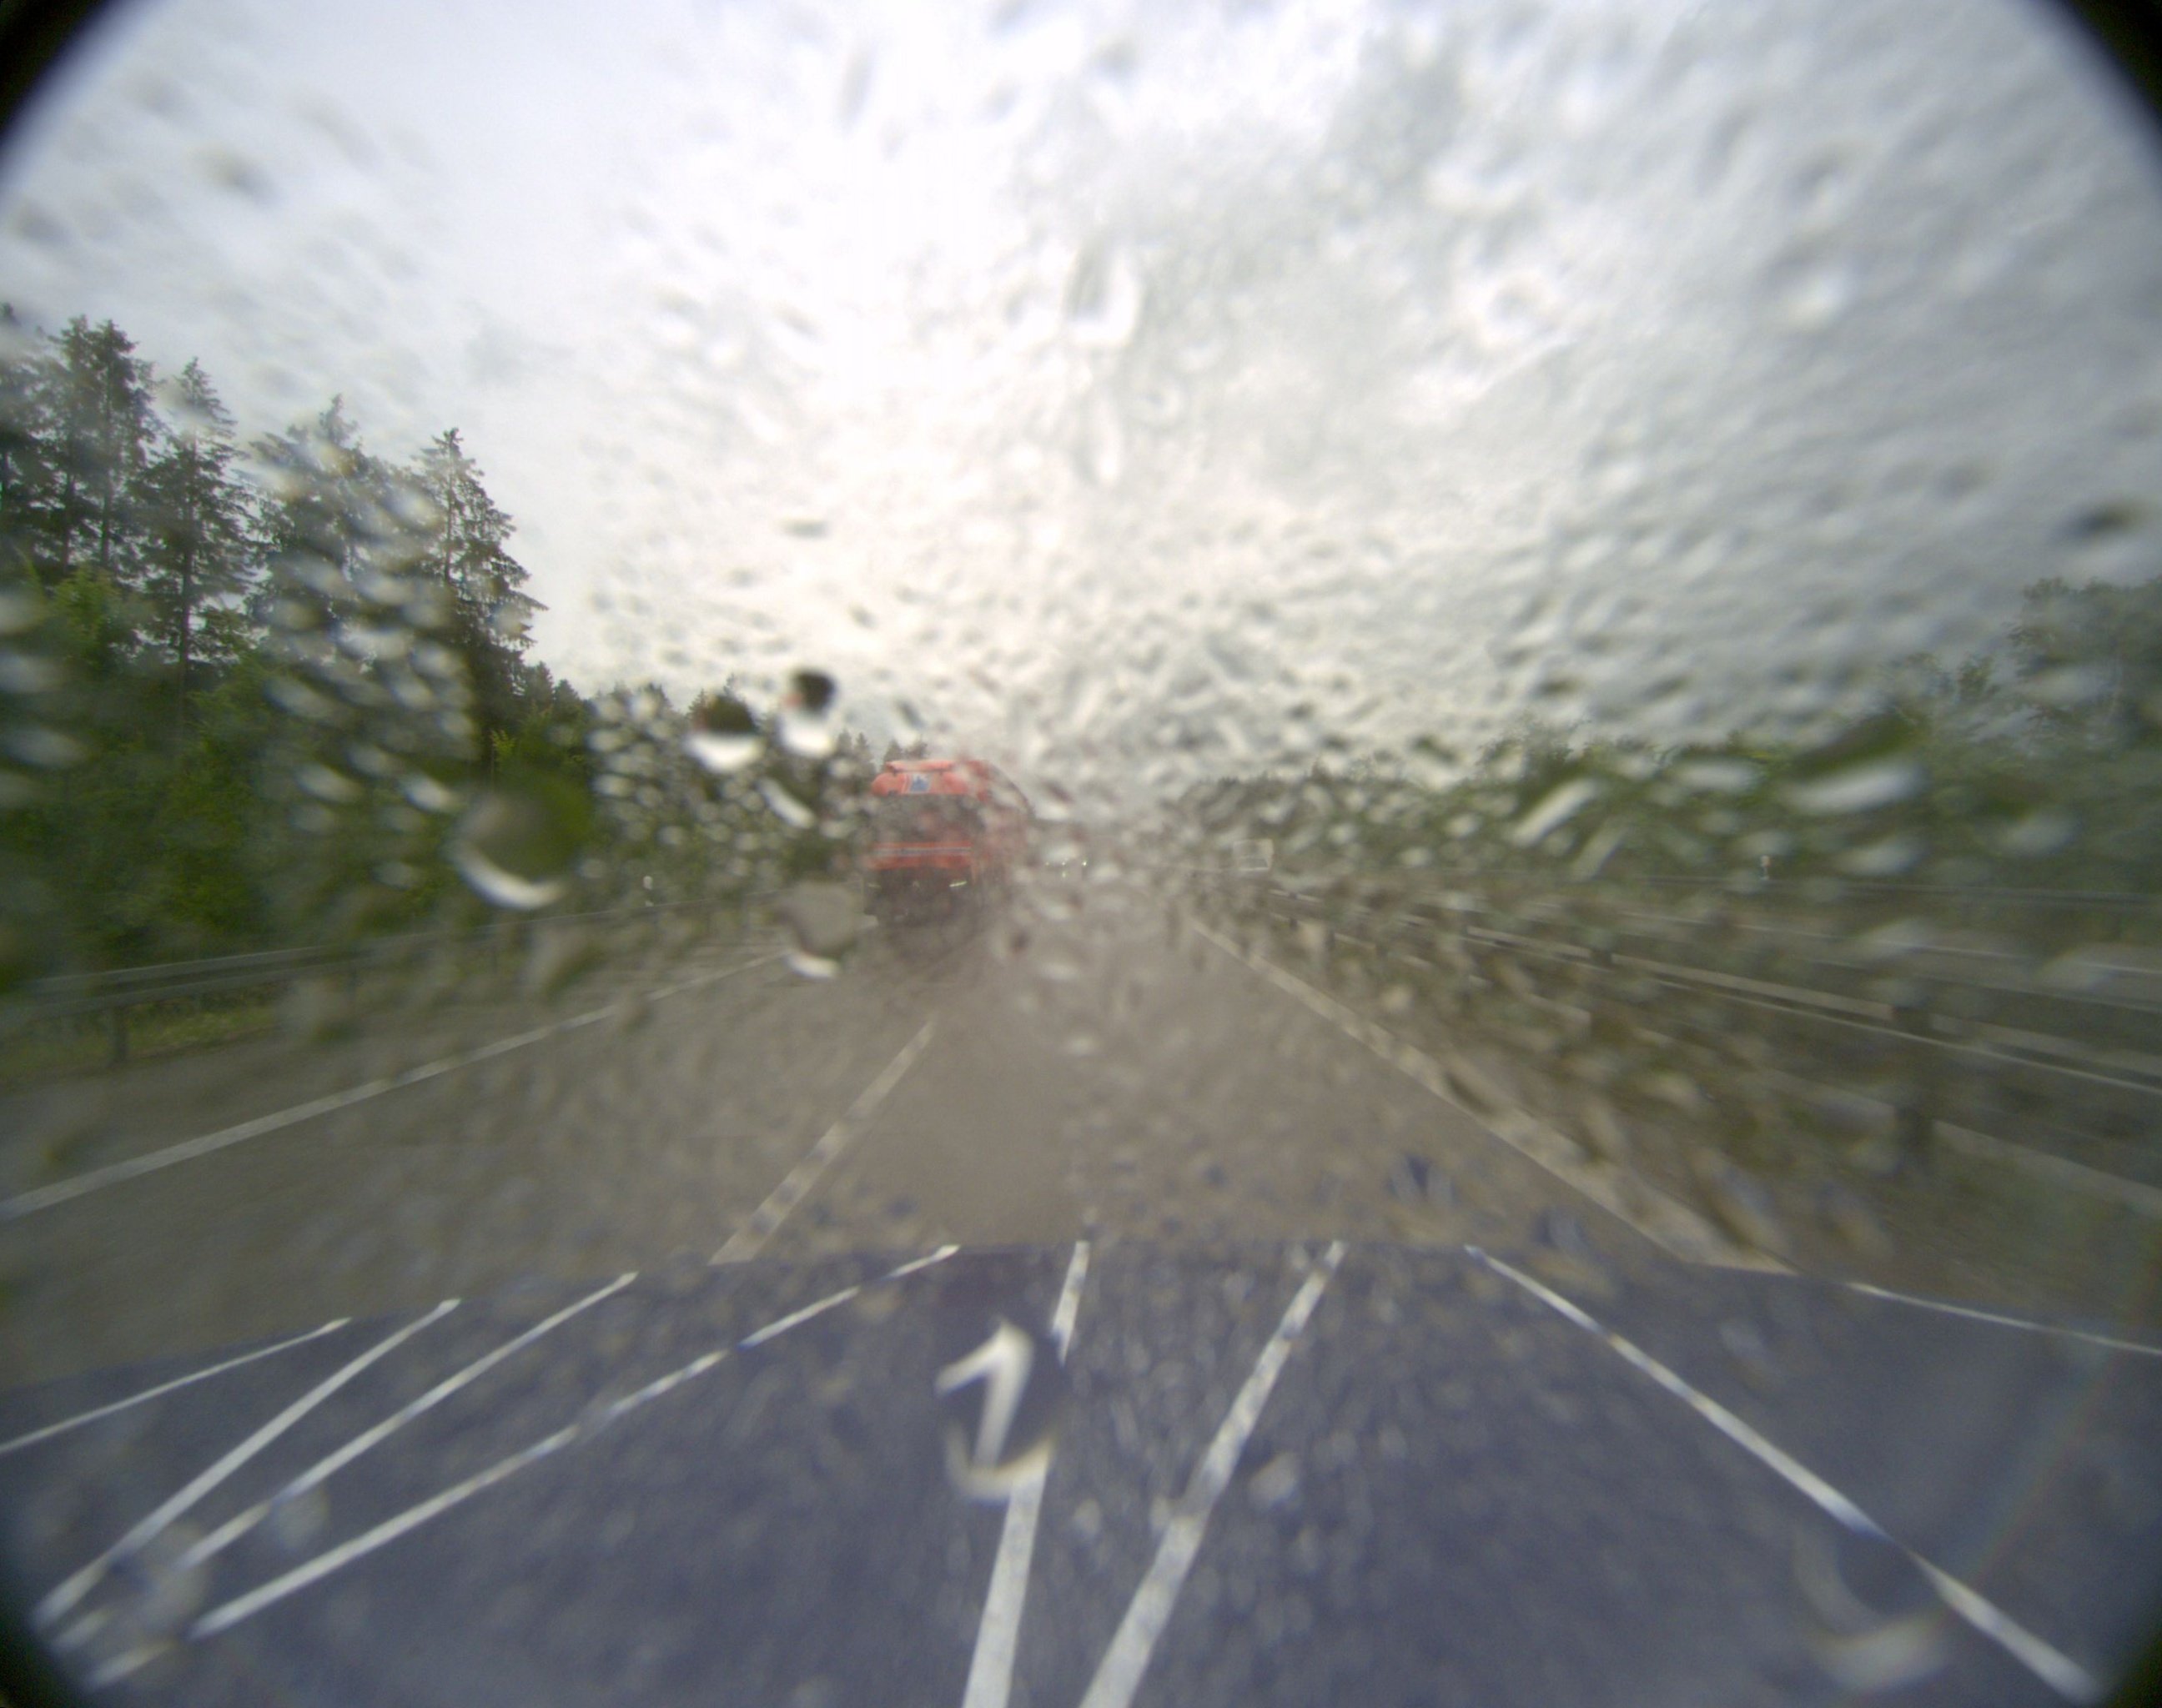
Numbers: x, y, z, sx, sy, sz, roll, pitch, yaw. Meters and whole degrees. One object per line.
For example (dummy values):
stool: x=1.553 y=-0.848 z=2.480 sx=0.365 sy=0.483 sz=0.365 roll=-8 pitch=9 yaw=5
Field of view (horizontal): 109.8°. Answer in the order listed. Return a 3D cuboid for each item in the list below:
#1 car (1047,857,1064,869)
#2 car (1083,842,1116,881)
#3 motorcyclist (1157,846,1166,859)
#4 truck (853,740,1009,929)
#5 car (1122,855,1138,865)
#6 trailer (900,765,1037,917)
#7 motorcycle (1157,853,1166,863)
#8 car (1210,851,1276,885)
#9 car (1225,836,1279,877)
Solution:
car: x=-2.581 y=0.871 z=76.195 sx=1.496 sy=1.188 sz=3.668 roll=1 pitch=0 yaw=1
car: x=1.070 y=0.420 z=44.282 sx=1.795 sy=2.113 sz=4.524 roll=1 pitch=0 yaw=1
motorcyclist: x=11.388 y=-0.174 z=107.217 sx=1.070 sy=1.746 sz=1.444 roll=-1 pitch=0 yaw=0
truck: x=-3.528 y=-0.426 z=19.255 sx=2.766 sy=4.064 sz=5.437 roll=1 pitch=0 yaw=1
car: x=6.903 y=0.865 z=107.194 sx=1.772 sy=1.410 sz=4.605 roll=0 pitch=0 yaw=-2
trailer: x=-3.464 y=-0.367 z=27.381 sx=2.801 sy=4.132 sz=13.005 roll=1 pitch=0 yaw=1
motorcycle: x=11.396 y=0.510 z=107.287 sx=1.075 sy=1.381 sz=2.413 roll=-1 pitch=0 yaw=0
car: x=7.168 y=0.600 z=34.042 sx=1.772 sy=1.410 sz=4.605 roll=0 pitch=0 yaw=-3
car: x=12.196 y=0.178 z=54.740 sx=2.357 sy=2.733 sz=6.875 roll=-1 pitch=0 yaw=0
